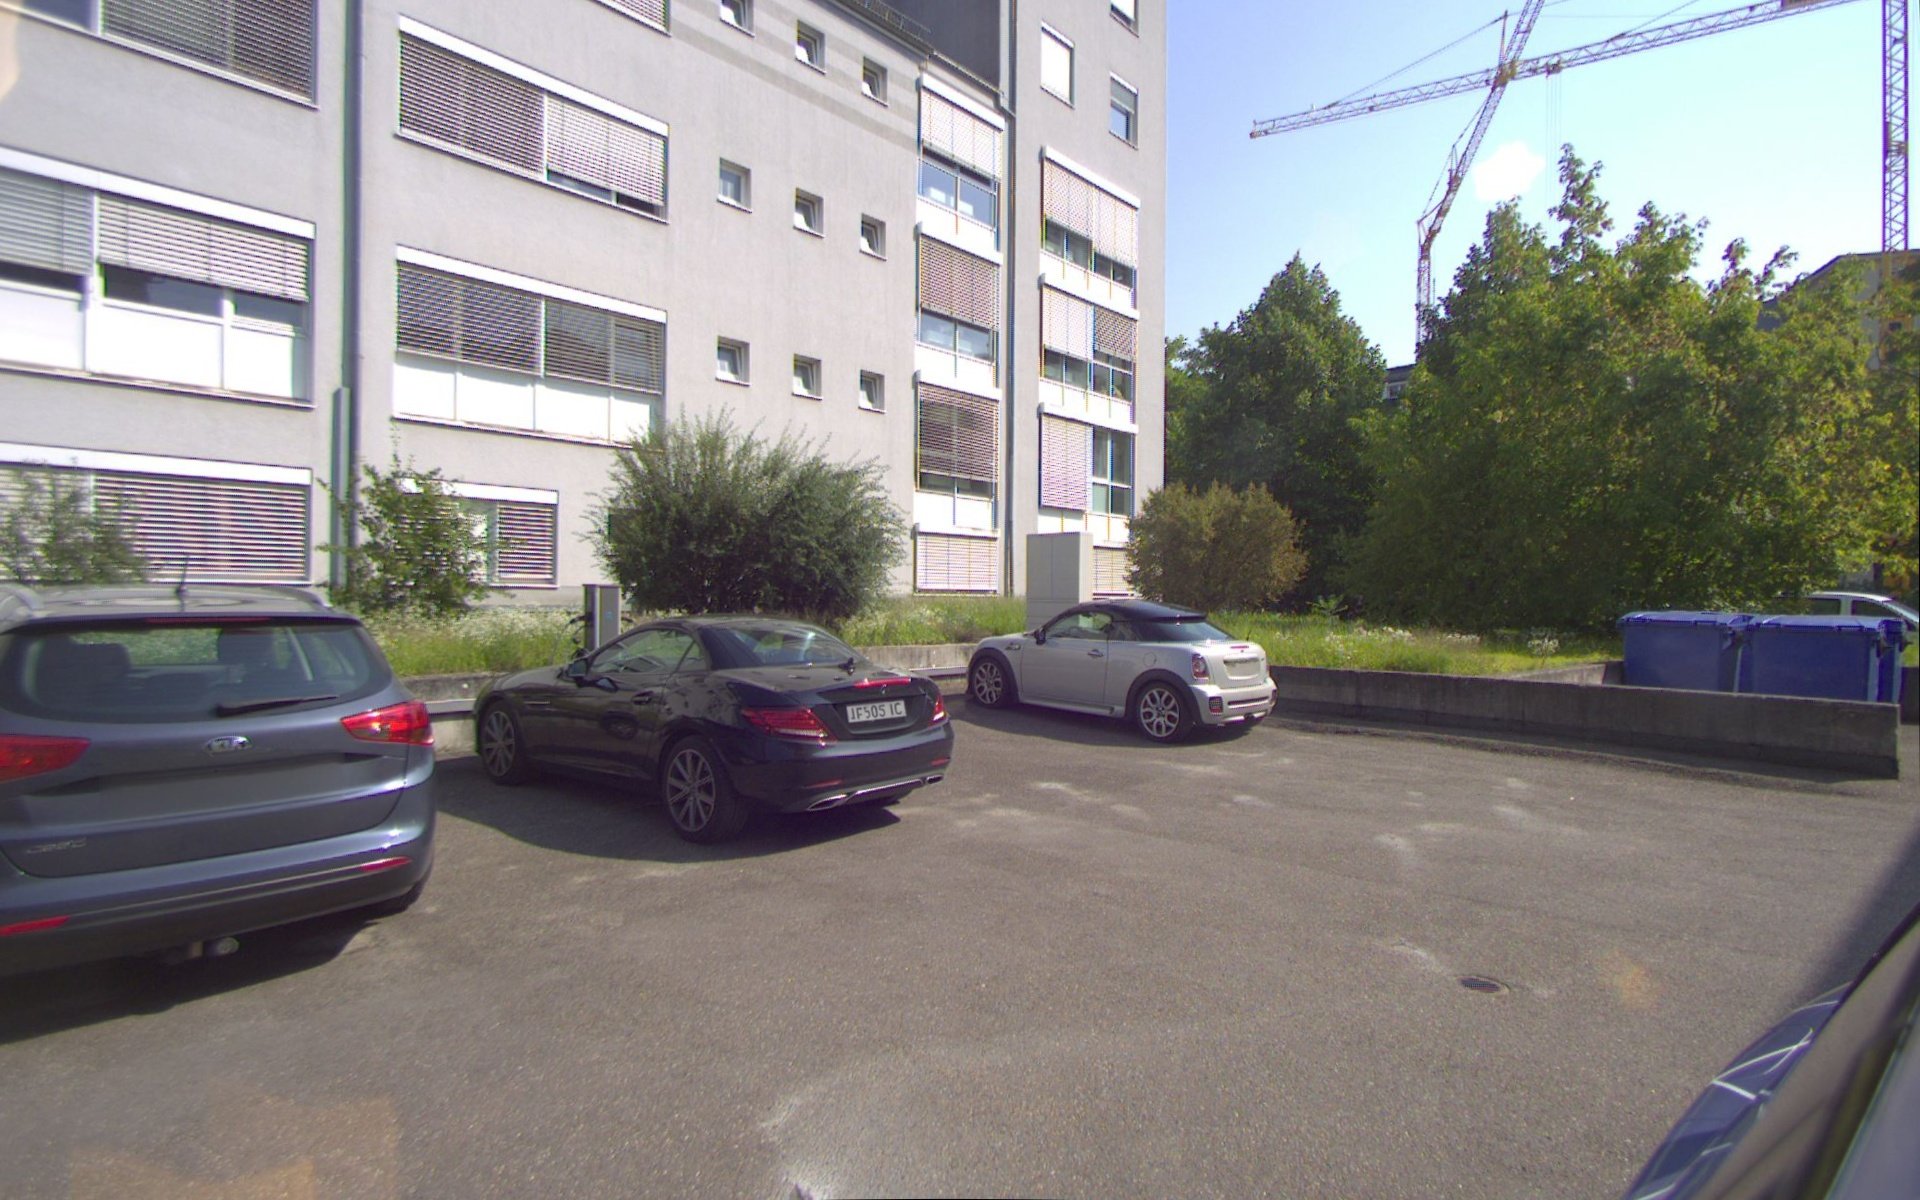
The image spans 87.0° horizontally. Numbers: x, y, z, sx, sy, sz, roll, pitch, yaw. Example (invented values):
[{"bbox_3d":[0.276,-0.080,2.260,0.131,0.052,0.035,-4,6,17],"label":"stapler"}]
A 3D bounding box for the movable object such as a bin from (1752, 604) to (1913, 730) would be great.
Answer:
[{"bbox_3d":[10.266,0.735,11.919,1.174,1.357,1.302,0,0,-42],"label":"movable object such as a bin"}]

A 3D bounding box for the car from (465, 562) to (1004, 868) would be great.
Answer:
[{"bbox_3d":[-1.747,0.590,7.267,3.793,1.609,1.870,0,0,39],"label":"car"}]

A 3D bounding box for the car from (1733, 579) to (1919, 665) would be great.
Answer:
[{"bbox_3d":[21.874,0.495,24.275,2.007,1.945,4.968,-1,0,-39],"label":"car"}]

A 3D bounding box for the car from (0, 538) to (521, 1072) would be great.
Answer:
[{"bbox_3d":[-3.837,0.606,4.868,3.862,1.609,1.850,0,0,44],"label":"car"}]

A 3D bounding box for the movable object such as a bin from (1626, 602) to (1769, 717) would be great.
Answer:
[{"bbox_3d":[9.430,0.712,12.954,1.096,1.357,1.238,0,0,-38],"label":"movable object such as a bin"}]

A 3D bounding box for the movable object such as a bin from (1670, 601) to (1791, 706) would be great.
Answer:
[{"bbox_3d":[10.705,0.700,14.060,1.226,1.357,1.060,0,0,44],"label":"movable object such as a bin"}]

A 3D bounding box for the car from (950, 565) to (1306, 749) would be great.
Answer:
[{"bbox_3d":[1.784,0.487,11.536,1.772,1.563,3.625,0,5,-43],"label":"car"}]

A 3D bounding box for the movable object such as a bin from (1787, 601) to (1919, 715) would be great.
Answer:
[{"bbox_3d":[11.570,0.705,13.044,1.082,1.357,1.310,0,0,-44],"label":"movable object such as a bin"}]
